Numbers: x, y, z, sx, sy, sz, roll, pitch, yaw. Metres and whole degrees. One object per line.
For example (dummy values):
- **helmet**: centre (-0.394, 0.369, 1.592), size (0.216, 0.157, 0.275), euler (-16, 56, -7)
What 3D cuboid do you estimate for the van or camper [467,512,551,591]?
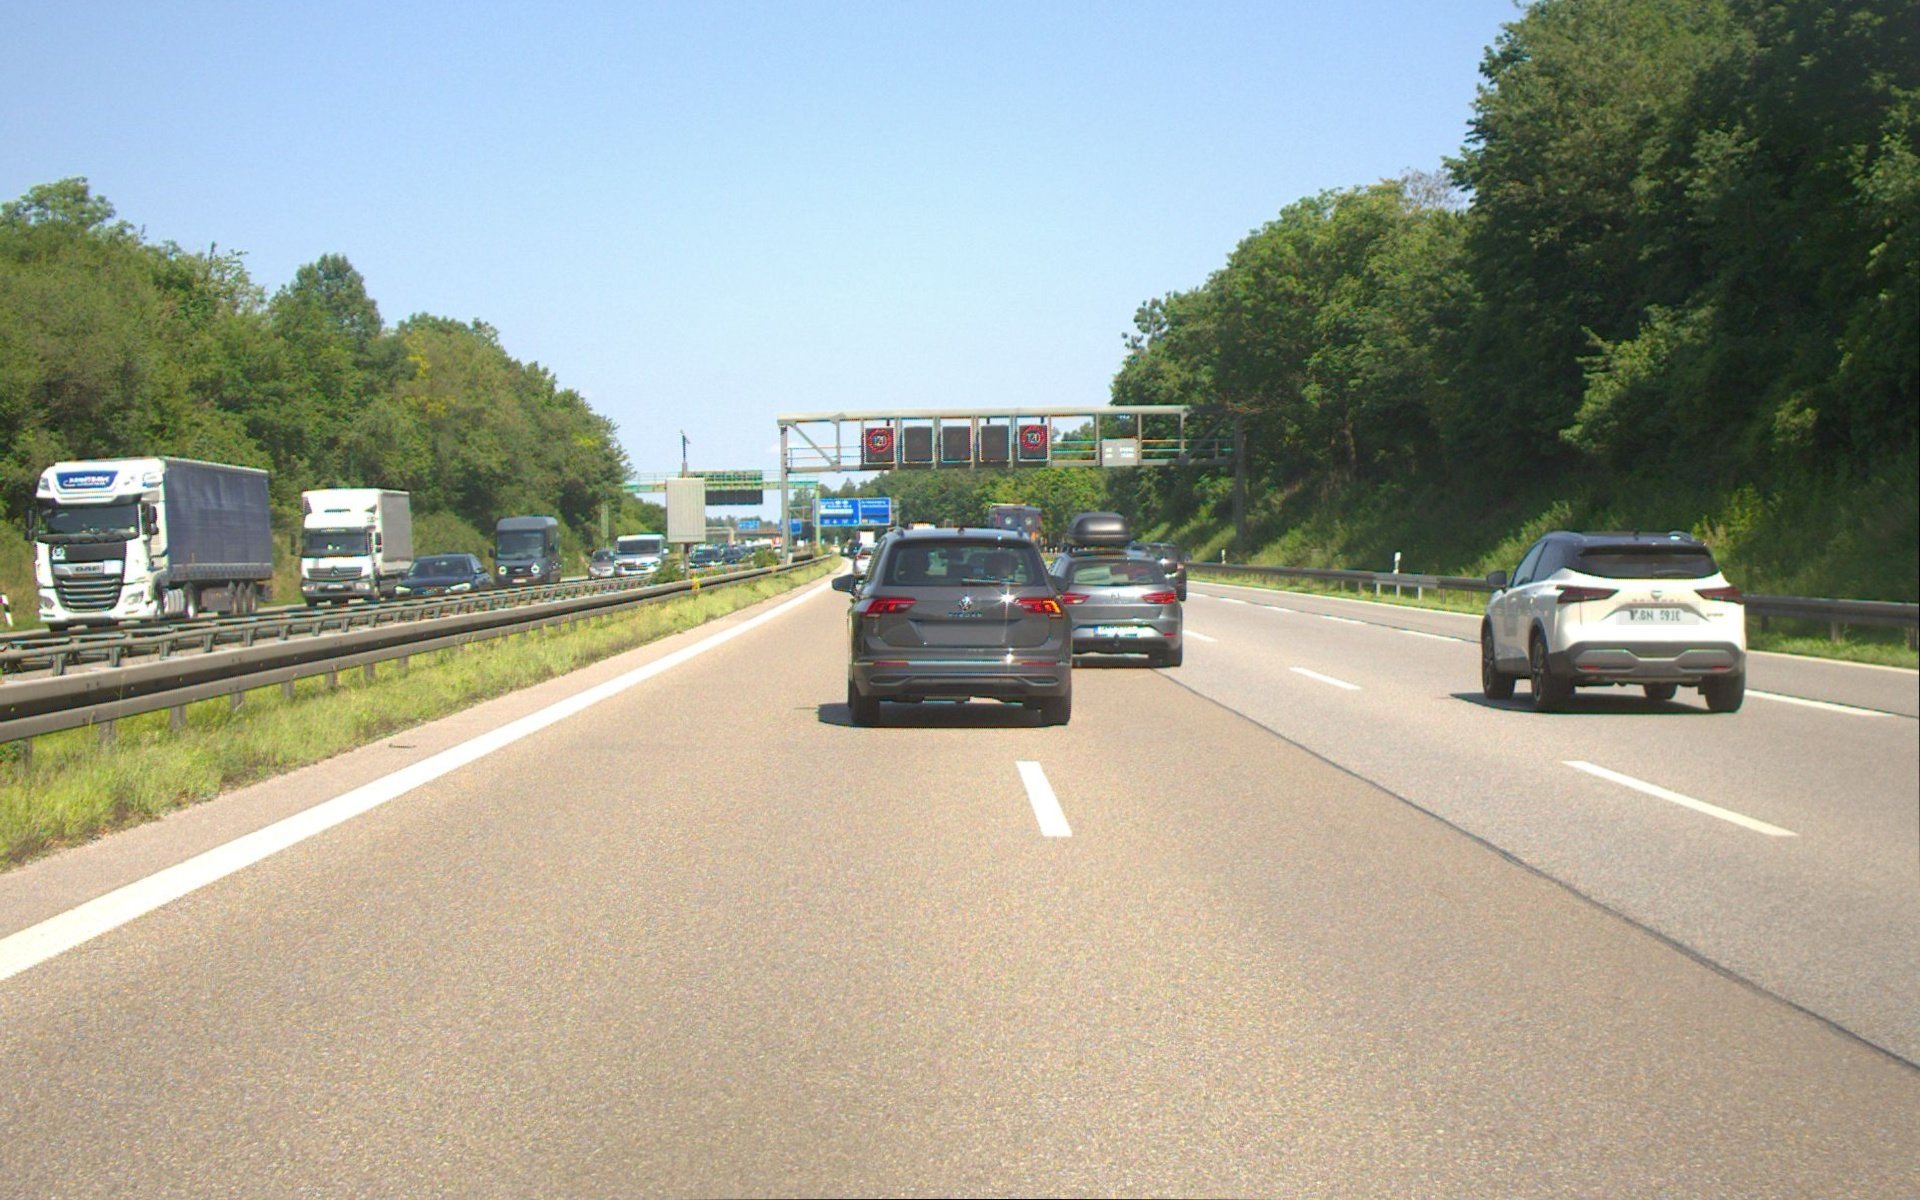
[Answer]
- **van or camper**: centre (-17.024, -1.846, 130.036), size (2.197, 2.802, 6.798), euler (-3, 1, 0)

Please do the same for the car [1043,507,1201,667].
- **car**: centre (1.978, -0.202, 43.180), size (1.665, 1.870, 4.828), euler (-1, 1, -1)

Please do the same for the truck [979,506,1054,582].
- **truck**: centre (3.323, -3.355, 207.381), size (3.780, 4.407, 14.052), euler (0, 1, -2)

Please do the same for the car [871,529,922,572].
- **car**: centre (-2.383, -1.885, 129.618), size (1.765, 1.563, 4.258), euler (1, 1, 1)

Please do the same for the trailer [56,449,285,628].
- **trailer**: centre (-19.750, -1.553, 87.050), size (2.614, 4.044, 14.170), euler (-3, 1, -1)

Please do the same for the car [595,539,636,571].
- **car**: centre (-16.806, -2.212, 167.818), size (1.675, 1.490, 3.545), euler (-1, 1, -1)

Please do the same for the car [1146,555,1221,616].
- **car**: centre (5.995, -0.406, 92.621), size (1.765, 1.563, 4.258), euler (1, 1, 1)

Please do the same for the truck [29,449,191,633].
- **truck**: centre (-19.603, -1.365, 79.468), size (2.614, 4.044, 4.000), euler (-3, 1, -1)

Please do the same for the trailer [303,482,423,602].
- **trailer**: centre (-20.047, -1.959, 115.853), size (2.712, 3.796, 7.693), euler (-2, 1, -1)

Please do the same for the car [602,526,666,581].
- **car**: centre (-12.514, -1.792, 132.265), size (1.928, 1.974, 5.235), euler (-3, 1, -1)

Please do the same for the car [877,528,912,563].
- **car**: centre (-3.909, -3.236, 204.043), size (1.993, 2.007, 4.000), euler (1, 1, -1)

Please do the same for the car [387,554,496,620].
- **car**: centre (-11.802, -0.323, 78.503), size (1.807, 1.401, 4.819), euler (-1, 1, -1)

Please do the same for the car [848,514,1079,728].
- **car**: centre (0.052, 0.129, 29.318), size (1.799, 1.663, 4.258), euler (1, 1, 1)

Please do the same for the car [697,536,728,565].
- **car**: centre (-12.991, -2.612, 180.882), size (1.433, 1.523, 3.458), euler (-1, 1, -1)

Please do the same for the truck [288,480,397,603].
- **truck**: centre (-19.948, -1.883, 111.267), size (2.703, 3.796, 4.000), euler (-2, 1, -1)

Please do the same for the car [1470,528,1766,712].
- **car**: centre (5.998, 0.135, 31.775), size (1.843, 1.563, 4.036), euler (1, 1, -1)
